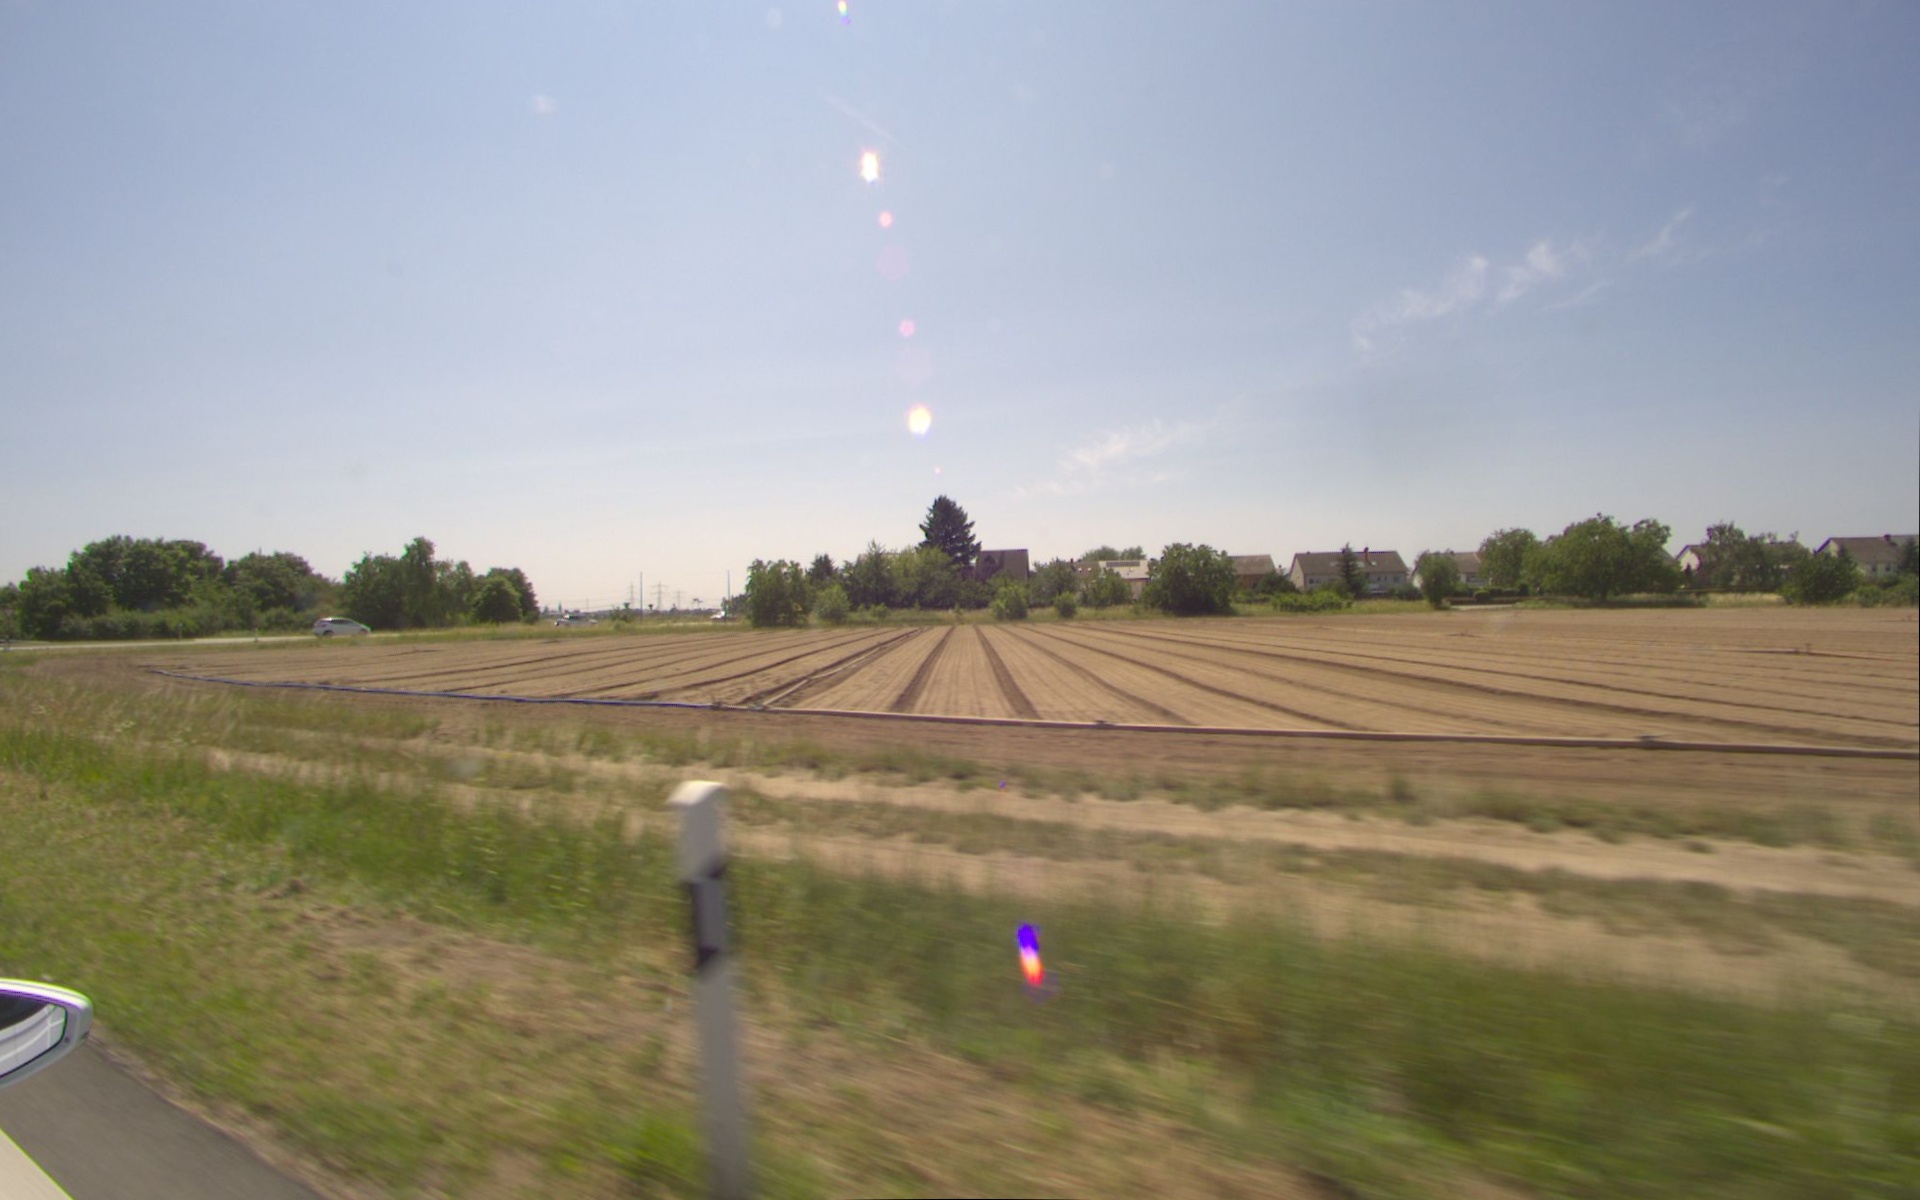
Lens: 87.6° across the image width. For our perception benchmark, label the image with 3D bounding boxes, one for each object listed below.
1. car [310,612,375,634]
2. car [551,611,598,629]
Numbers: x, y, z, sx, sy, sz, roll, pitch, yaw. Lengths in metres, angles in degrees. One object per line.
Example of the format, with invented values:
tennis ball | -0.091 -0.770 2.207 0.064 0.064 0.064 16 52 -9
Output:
car | -50.973 1.884 82.665 2.044 1.645 4.115 -1 0 36
car | -36.912 1.929 95.907 3.955 1.645 1.630 -1 0 -40
